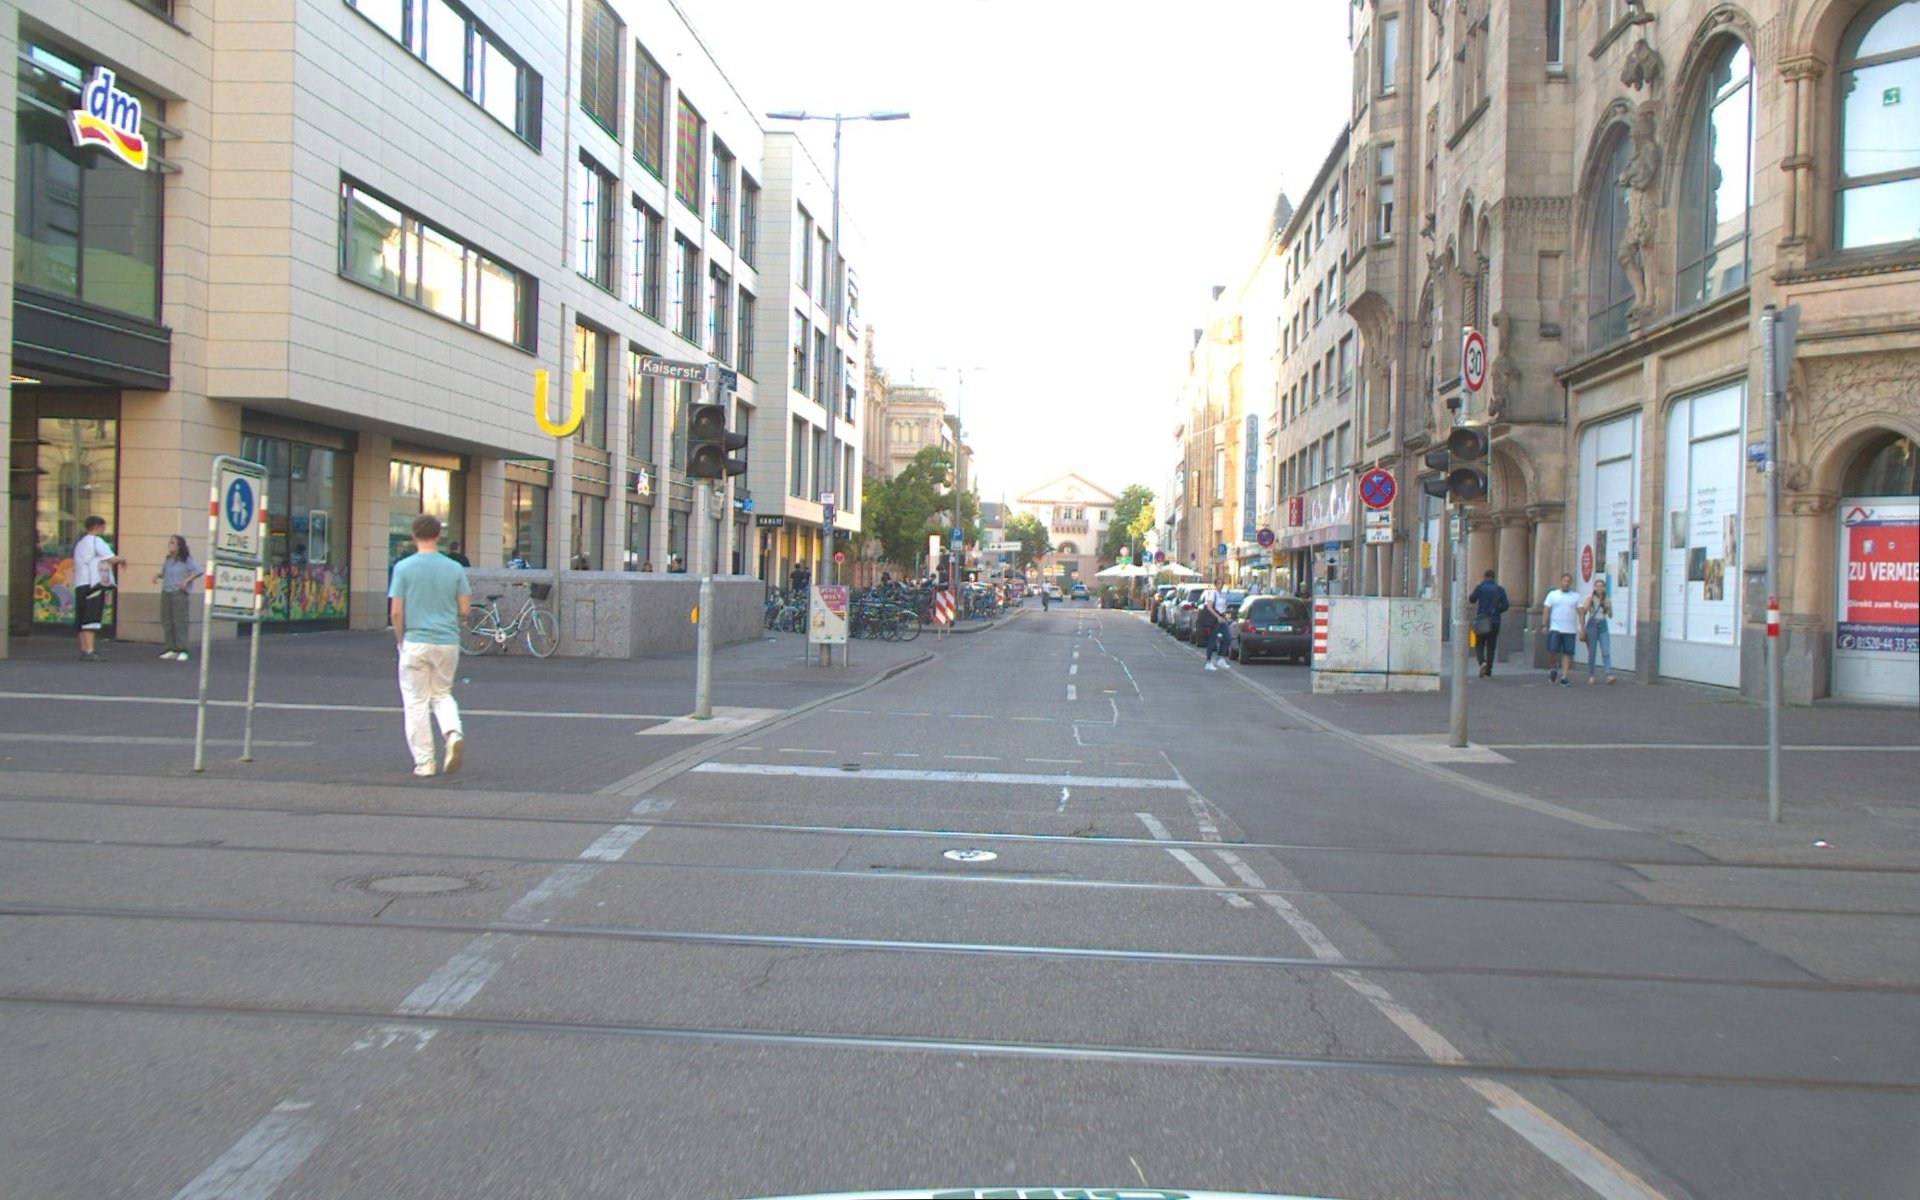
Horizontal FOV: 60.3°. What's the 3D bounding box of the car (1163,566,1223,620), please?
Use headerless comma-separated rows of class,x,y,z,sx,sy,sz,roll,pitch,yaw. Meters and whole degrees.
car,8.171,-0.276,58.256,1.761,1.799,4.400,0,1,4

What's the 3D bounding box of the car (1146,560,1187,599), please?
car,9.248,-0.914,74.240,1.643,1.695,3.675,0,1,4

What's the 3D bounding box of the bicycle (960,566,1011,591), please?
bicycle,1.077,-0.904,70.243,2.102,1.047,0.641,1,1,6

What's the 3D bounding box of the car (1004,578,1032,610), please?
car,3.819,-0.405,108.120,1.675,2.048,4.002,1,1,4

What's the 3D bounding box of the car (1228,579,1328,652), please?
car,6.786,0.286,35.575,1.643,1.449,3.675,1,1,4

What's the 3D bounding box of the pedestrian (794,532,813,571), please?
pedestrian,-6.686,-2.056,70.752,0.715,1.649,0.662,1,1,4

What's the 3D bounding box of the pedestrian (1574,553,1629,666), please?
pedestrian,9.894,0.144,25.517,0.612,1.719,0.626,0,1,2

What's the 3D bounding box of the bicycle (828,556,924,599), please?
bicycle,-2.550,-0.692,50.323,2.846,1.277,0.799,0,1,-22

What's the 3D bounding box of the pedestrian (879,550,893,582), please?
pedestrian,-3.901,-1.805,87.716,0.665,1.649,0.574,1,1,4

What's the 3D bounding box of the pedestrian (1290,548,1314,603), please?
pedestrian,10.768,-0.779,52.089,0.630,1.719,0.671,0,1,2

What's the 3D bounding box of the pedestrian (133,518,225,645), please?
pedestrian,-10.758,-0.262,22.804,0.750,1.688,0.817,2,1,18

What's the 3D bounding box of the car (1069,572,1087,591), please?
car,12.898,-2.038,181.116,1.952,1.937,4.002,2,1,4

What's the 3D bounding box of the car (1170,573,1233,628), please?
car,7.606,-0.010,52.323,1.643,1.641,4.031,0,1,4

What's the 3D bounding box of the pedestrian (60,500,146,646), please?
pedestrian,-11.336,-0.358,21.885,0.561,1.887,0.817,2,1,16

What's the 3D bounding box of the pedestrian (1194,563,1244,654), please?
pedestrian,5.039,0.163,32.236,0.818,1.750,0.681,1,1,-4

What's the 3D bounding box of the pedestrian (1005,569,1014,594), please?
pedestrian,3.087,-1.141,102.444,0.538,1.512,0.566,1,1,2

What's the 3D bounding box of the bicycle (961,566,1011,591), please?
bicycle,1.122,-0.919,71.012,2.102,1.047,0.641,1,1,6

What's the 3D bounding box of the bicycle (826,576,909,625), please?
bicycle,-2.267,0.010,40.637,1.942,1.141,0.554,2,1,-25

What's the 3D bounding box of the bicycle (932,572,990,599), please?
bicycle,0.053,-0.555,62.153,2.102,0.970,0.641,1,1,6

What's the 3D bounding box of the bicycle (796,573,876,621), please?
bicycle,-3.148,-0.078,42.089,1.942,1.141,0.554,2,1,-25

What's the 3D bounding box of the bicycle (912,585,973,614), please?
bicycle,-0.609,-0.022,58.828,2.102,0.970,0.641,1,1,6

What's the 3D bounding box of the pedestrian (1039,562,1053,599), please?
pedestrian,4.374,-0.996,84.184,0.586,1.855,0.452,1,1,14

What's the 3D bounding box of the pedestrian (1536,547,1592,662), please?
pedestrian,9.227,0.061,25.280,0.612,1.719,0.671,0,1,2

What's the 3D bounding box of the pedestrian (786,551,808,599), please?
pedestrian,-5.732,-0.877,58.239,0.665,1.649,0.574,1,1,4

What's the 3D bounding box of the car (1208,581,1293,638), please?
car,7.146,0.197,40.935,1.643,1.313,4.049,0,1,4

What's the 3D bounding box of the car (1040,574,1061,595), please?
car,8.873,-1.534,161.839,1.952,1.937,4.002,2,1,4

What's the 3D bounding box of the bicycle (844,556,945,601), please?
bicycle,-1.909,-0.621,48.083,2.846,1.277,0.799,0,1,-22

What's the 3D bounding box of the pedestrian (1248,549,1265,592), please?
pedestrian,12.699,-1.281,70.892,0.630,1.831,0.671,0,1,2

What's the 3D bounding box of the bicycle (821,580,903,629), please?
bicycle,-2.435,0.114,41.088,1.942,1.141,0.554,2,1,-25

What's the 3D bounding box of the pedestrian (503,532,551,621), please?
pedestrian,-8.910,-0.478,34.020,0.766,1.781,0.600,2,1,1

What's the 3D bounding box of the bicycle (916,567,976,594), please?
bicycle,-0.508,-0.712,60.709,2.102,0.970,0.641,1,1,6

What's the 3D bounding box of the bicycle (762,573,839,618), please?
bicycle,-4.244,-0.124,44.060,1.942,1.141,0.554,2,1,-25

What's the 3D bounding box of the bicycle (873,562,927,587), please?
bicycle,-2.416,-1.029,67.016,2.102,0.970,0.641,1,1,6

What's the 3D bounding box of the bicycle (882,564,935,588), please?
bicycle,-2.117,-0.981,67.902,2.102,0.970,0.641,1,1,6

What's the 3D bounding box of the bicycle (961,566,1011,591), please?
bicycle,1.141,-0.940,72.049,2.102,1.047,0.641,1,1,6

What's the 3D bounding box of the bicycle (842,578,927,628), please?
bicycle,-1.804,0.081,39.691,1.942,1.141,0.554,2,1,-25

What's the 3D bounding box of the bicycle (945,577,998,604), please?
bicycle,0.477,-0.401,67.966,2.102,1.047,0.641,1,1,6

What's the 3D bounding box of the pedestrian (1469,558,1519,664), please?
pedestrian,8.766,0.172,27.159,0.612,1.719,0.671,0,1,2

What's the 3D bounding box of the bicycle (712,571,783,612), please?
bicycle,-6.174,-0.245,48.035,1.942,1.141,0.554,2,1,-25

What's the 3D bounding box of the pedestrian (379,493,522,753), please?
pedestrian,-3.670,0.158,11.883,0.854,1.791,0.762,2,1,-24

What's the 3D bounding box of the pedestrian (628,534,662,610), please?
pedestrian,-7.057,-0.620,37.090,0.587,1.675,0.546,2,1,1

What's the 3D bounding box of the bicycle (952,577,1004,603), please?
bicycle,0.762,-0.422,69.471,2.102,1.047,0.641,1,1,6

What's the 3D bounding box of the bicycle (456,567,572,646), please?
bicycle,-6.922,0.092,25.694,1.660,1.141,0.451,2,1,7

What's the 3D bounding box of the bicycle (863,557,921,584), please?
bicycle,-2.544,-1.103,62.280,2.102,0.970,0.641,1,1,6

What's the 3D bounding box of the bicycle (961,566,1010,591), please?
bicycle,1.138,-0.955,72.778,2.102,1.047,0.641,1,1,6

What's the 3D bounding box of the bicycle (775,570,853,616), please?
bicycle,-3.834,-0.181,43.491,1.942,1.141,0.554,2,1,-25

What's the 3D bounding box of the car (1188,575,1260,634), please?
car,7.327,0.090,46.127,1.643,1.574,3.675,0,1,4

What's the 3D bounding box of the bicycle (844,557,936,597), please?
bicycle,-2.234,-0.731,52.756,2.846,1.277,0.799,0,1,-22

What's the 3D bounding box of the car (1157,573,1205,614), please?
car,8.711,-0.276,65.370,1.643,1.574,3.675,0,1,4

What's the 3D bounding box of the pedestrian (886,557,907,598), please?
pedestrian,-2.414,-0.864,62.924,0.735,1.556,0.485,1,1,4

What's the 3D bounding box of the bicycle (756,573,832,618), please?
bicycle,-4.522,-0.120,45.058,1.942,1.141,0.554,2,1,-25

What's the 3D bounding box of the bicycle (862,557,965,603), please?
bicycle,-1.310,-0.574,46.952,2.846,1.277,0.799,0,1,-22

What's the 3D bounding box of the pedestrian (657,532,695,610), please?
pedestrian,-6.343,-0.656,36.984,0.666,1.710,0.600,2,1,1

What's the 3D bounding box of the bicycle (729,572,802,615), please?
bicycle,-5.426,-0.177,46.173,1.942,1.141,0.554,2,1,-25

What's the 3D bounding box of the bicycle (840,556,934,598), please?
bicycle,-2.292,-0.712,51.783,2.846,1.277,0.799,0,1,-22

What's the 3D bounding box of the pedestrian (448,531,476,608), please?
pedestrian,-10.121,-0.614,33.615,0.381,1.541,0.506,1,1,3

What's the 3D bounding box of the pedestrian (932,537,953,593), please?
pedestrian,-0.590,-1.176,55.059,0.644,1.855,0.527,1,1,-6

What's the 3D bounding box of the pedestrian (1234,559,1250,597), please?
pedestrian,13.202,-1.027,77.530,0.630,1.776,0.671,0,1,2
